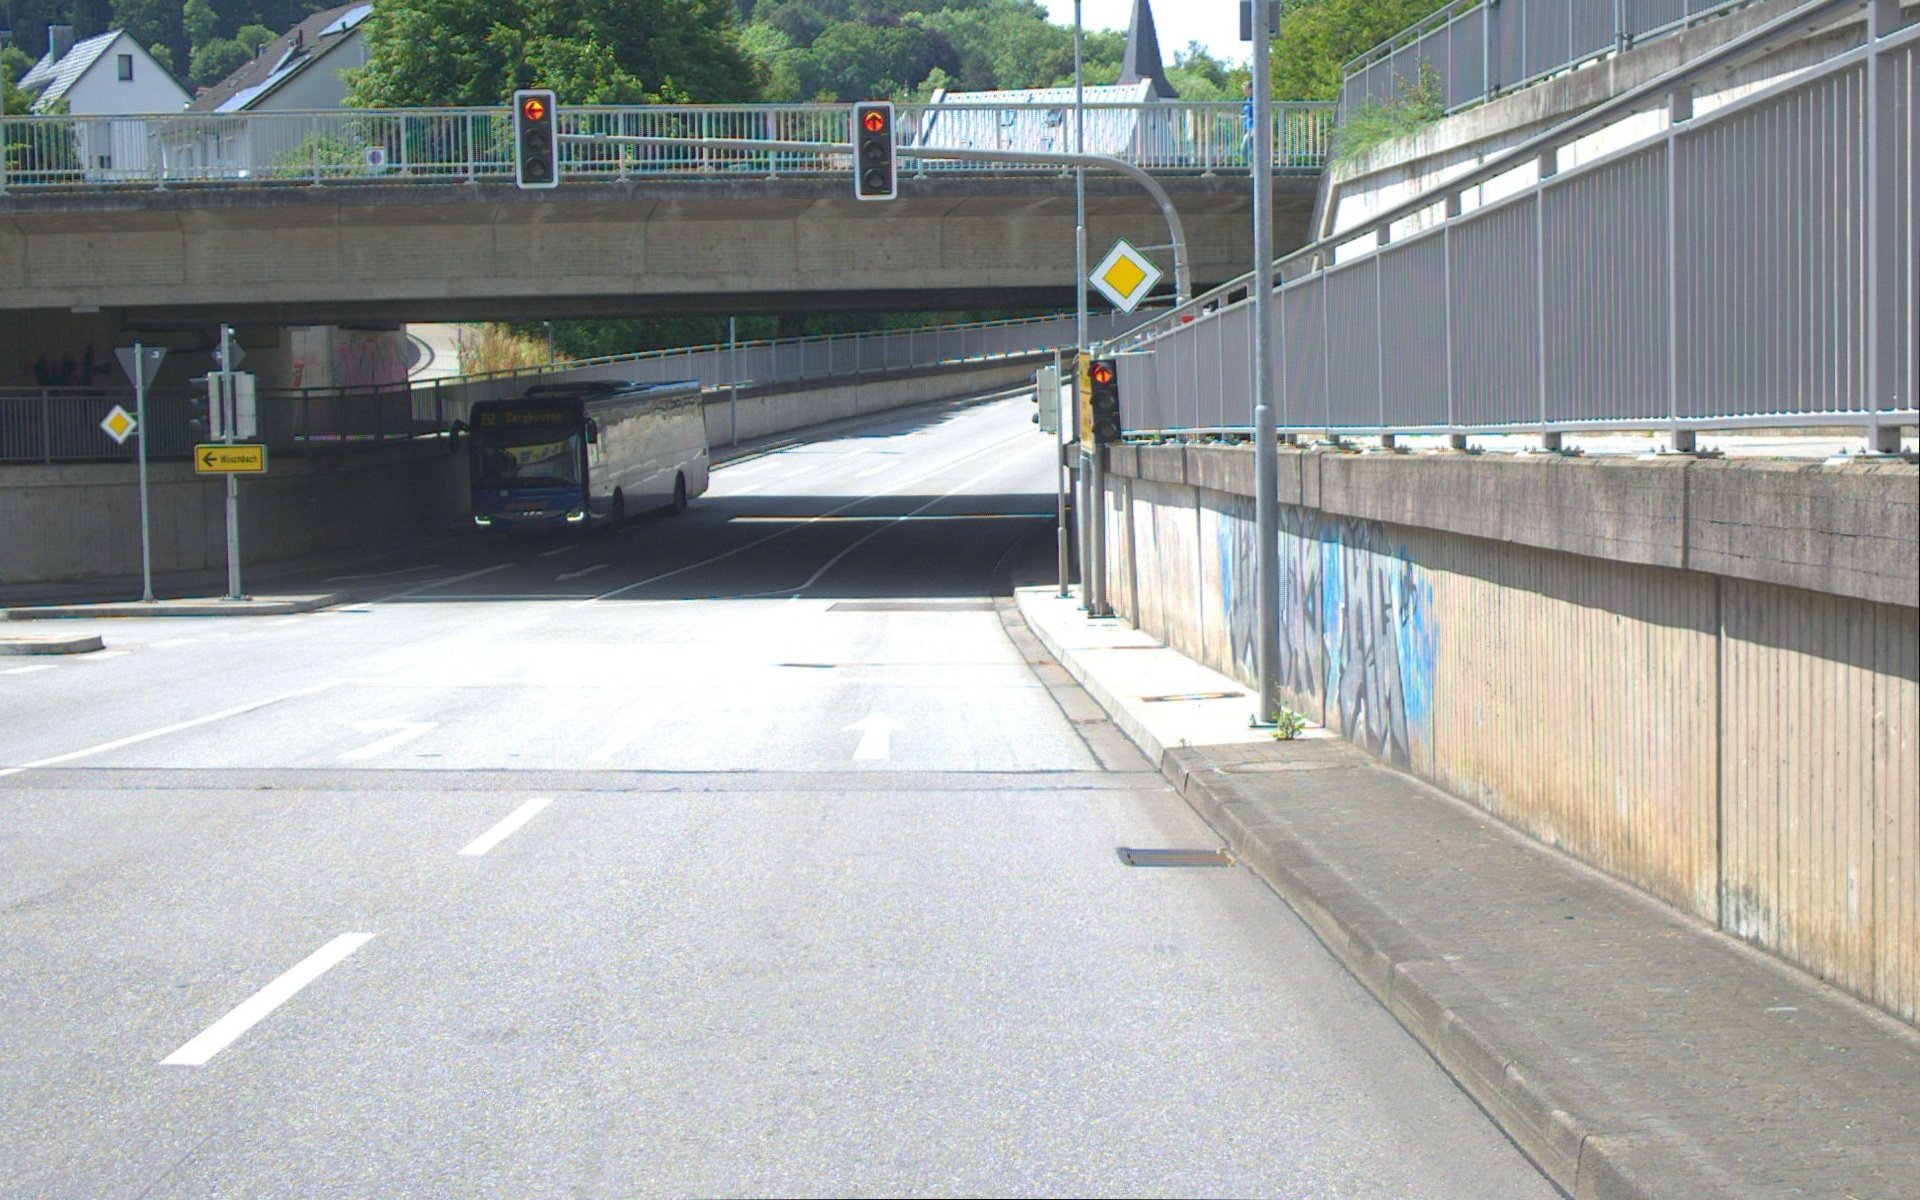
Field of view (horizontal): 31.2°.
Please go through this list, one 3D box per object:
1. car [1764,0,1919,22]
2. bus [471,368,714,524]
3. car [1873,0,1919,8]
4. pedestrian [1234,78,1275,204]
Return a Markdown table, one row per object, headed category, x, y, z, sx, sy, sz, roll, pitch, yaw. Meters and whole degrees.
| category | x | y | z | sx | sy | sz | roll | pitch | yaw |
| --- | --- | --- | --- | --- | --- | --- | --- | --- | --- |
| car | 9.224 | -5.944 | 30.091 | 3.987 | 1.481 | 1.770 | 0 | 2 | 3 |
| bus | -7.946 | -3.552 | 76.374 | 2.581 | 3.161 | 12.376 | 0 | 4 | 7 |
| car | 9.245 | -5.443 | 26.459 | 3.987 | 1.481 | 1.770 | 0 | 2 | 3 |
| pedestrian | 4.984 | -7.762 | 58.198 | 0.539 | 2.074 | 0.535 | -2 | 2 | -7 |
